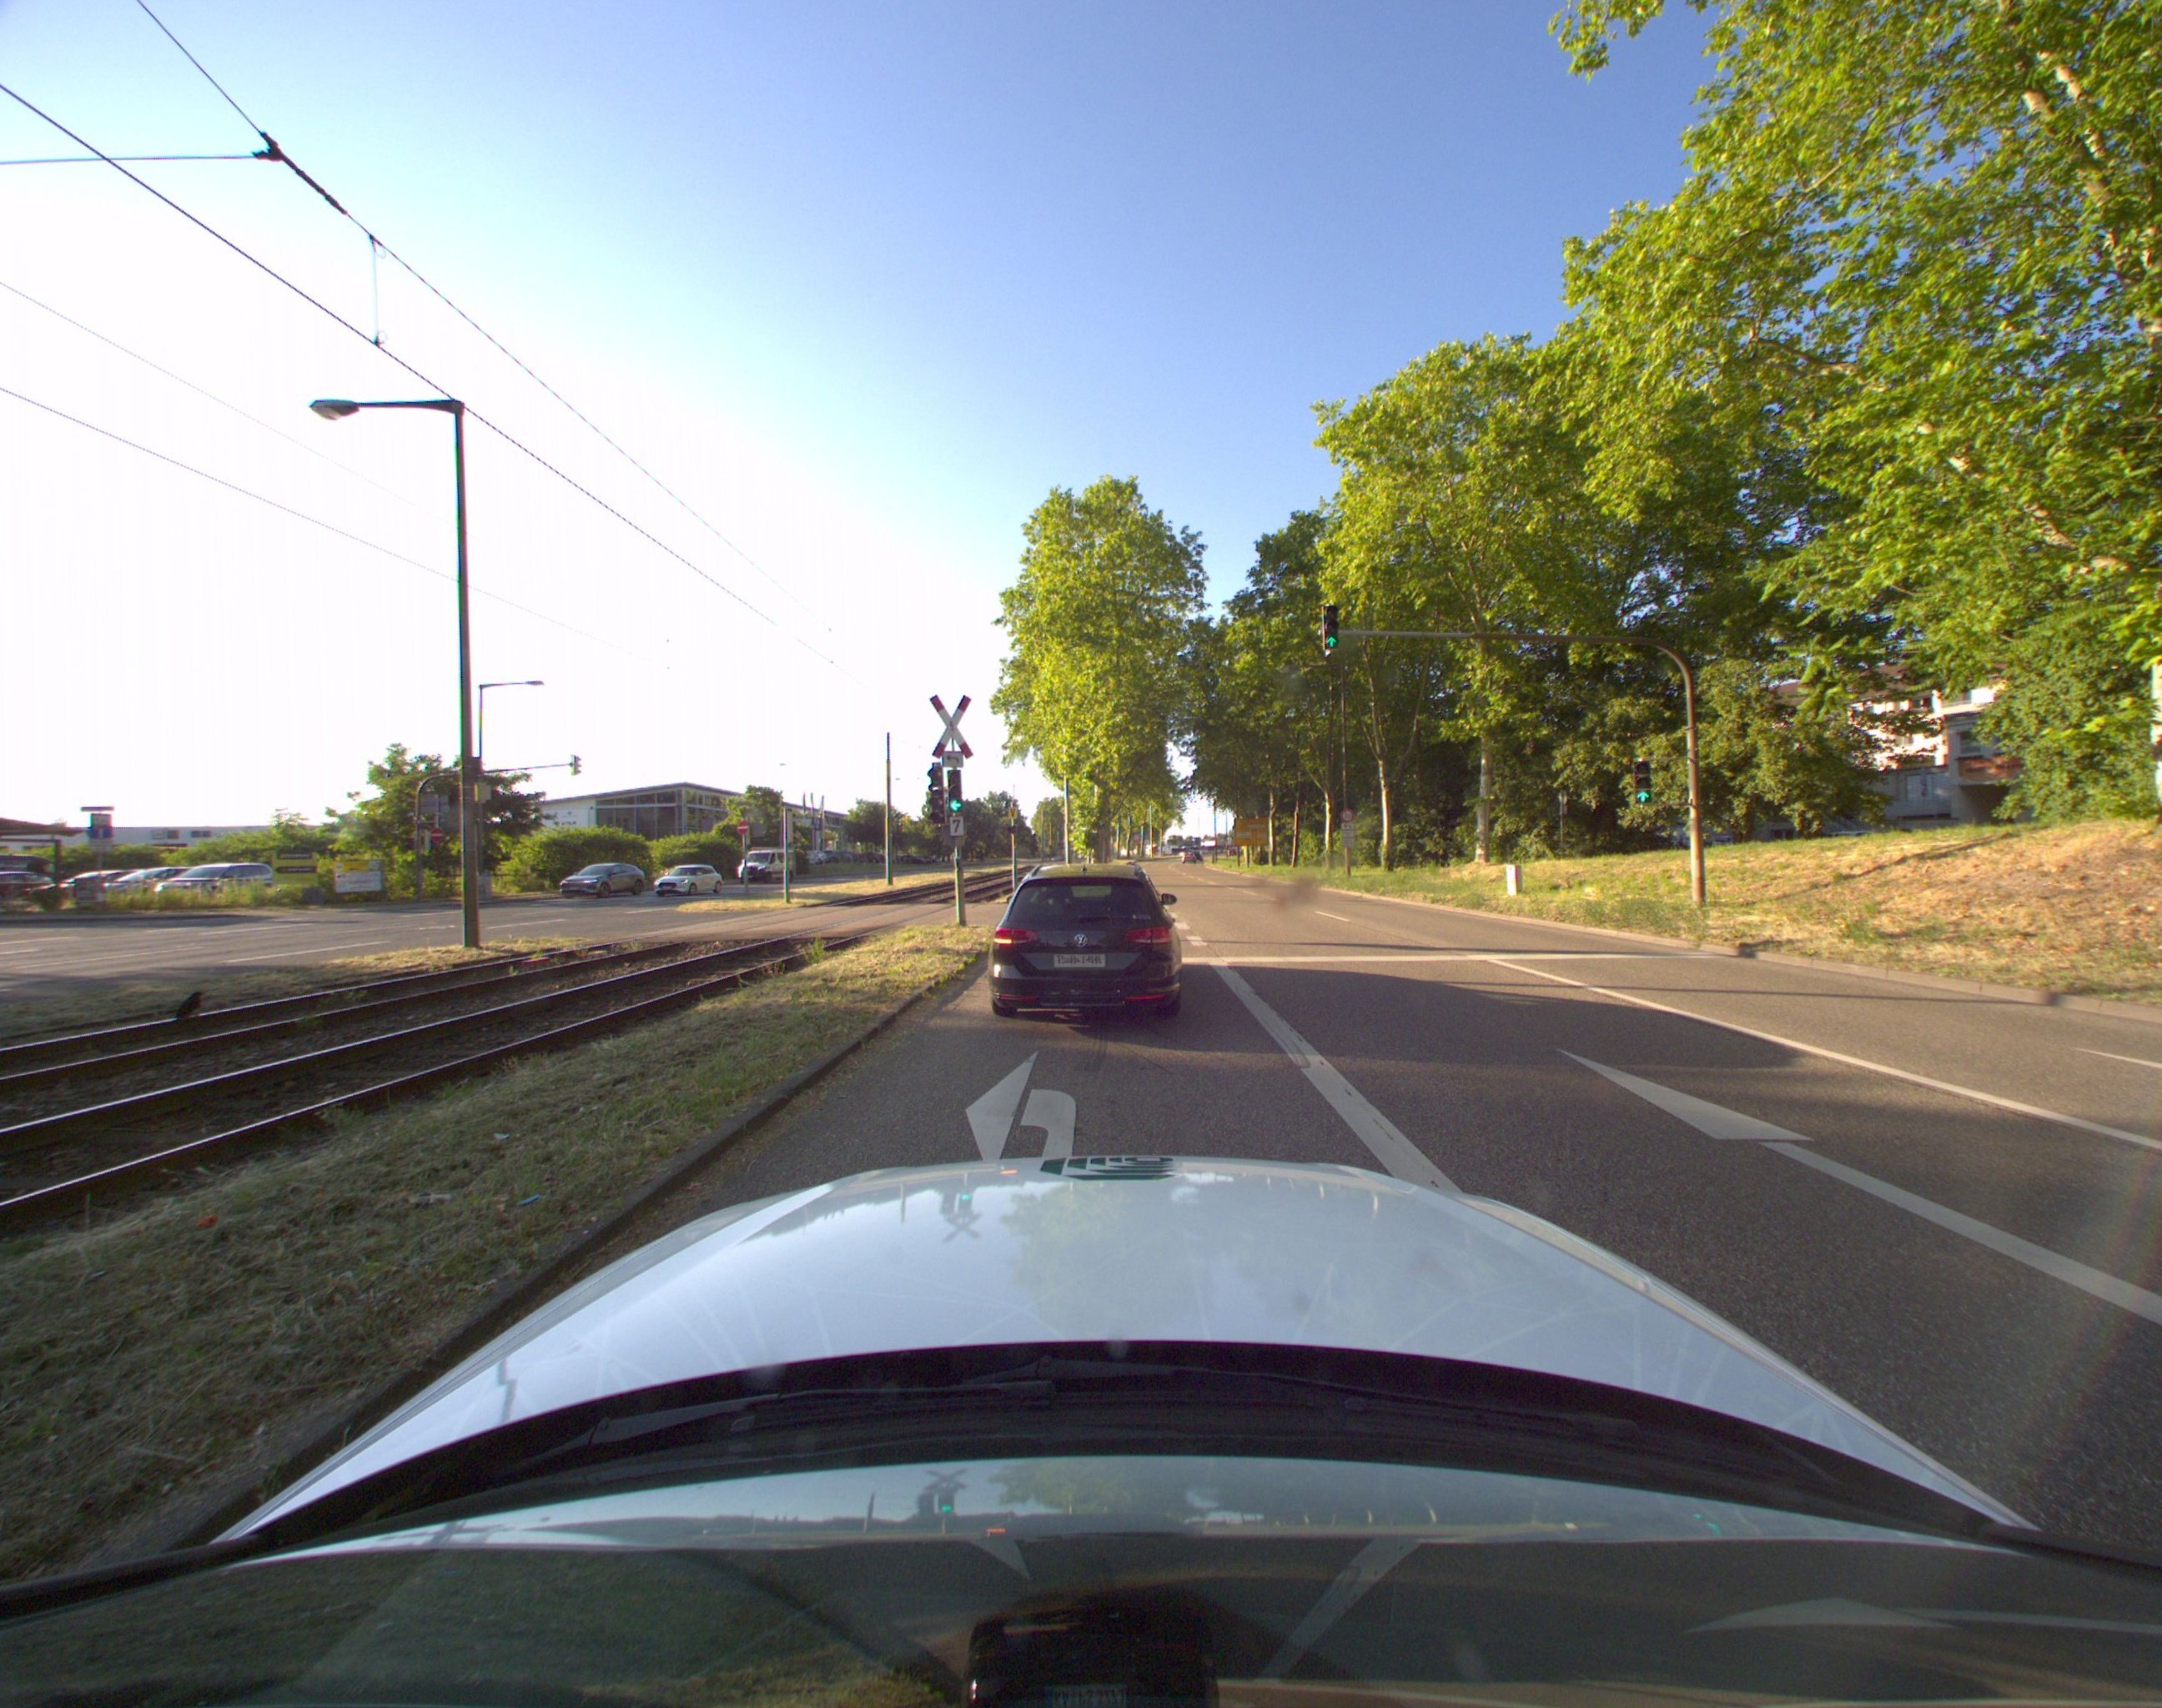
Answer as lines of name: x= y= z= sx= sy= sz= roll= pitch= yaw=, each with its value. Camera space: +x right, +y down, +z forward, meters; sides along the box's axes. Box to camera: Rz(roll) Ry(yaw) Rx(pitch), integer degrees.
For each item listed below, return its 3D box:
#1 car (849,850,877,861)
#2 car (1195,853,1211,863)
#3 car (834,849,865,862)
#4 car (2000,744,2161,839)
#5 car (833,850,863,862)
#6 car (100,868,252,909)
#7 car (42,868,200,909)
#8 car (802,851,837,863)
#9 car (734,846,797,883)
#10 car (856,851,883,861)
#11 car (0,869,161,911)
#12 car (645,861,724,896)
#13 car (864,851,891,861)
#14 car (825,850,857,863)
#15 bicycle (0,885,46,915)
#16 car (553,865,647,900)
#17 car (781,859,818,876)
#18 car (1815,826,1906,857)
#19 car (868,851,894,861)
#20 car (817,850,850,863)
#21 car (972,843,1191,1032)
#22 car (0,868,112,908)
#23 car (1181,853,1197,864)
car: x=-31.069 y=0.271 z=116.189 sx=3.796 sy=1.567 sz=1.749 roll=0 pitch=-1 yaw=-17
car: x=17.702 y=0.565 z=118.053 sx=1.981 sy=1.440 sz=4.012 roll=-1 pitch=0 yaw=11
car: x=-29.664 y=0.166 z=104.574 sx=3.796 sy=1.567 sz=1.749 roll=0 pitch=-1 yaw=-17
car: x=30.820 y=-1.777 z=23.904 sx=1.791 sy=2.513 sz=5.639 roll=0 pitch=-1 yaw=7
car: x=-30.725 y=0.295 z=107.352 sx=3.796 sy=1.567 sz=1.749 roll=0 pitch=-1 yaw=-17
car: x=-39.441 y=1.443 z=35.667 sx=2.106 sy=1.648 sz=4.001 roll=0 pitch=-1 yaw=1
car: x=-41.880 y=1.461 z=35.691 sx=2.106 sy=1.648 sz=4.001 roll=0 pitch=-1 yaw=1
car: x=-30.362 y=0.379 z=94.597 sx=3.796 sy=1.388 sz=1.749 roll=0 pitch=-1 yaw=-17
car: x=-22.934 y=0.756 z=59.434 sx=1.995 sy=2.566 sz=5.880 roll=-1 pitch=0 yaw=3
car: x=-30.935 y=0.293 z=119.074 sx=3.796 sy=1.567 sz=1.749 roll=0 pitch=-1 yaw=-17
car: x=-44.122 y=1.537 z=35.930 sx=2.106 sy=1.648 sz=4.321 roll=0 pitch=-1 yaw=1
car: x=-19.777 y=1.198 z=40.795 sx=1.863 sy=1.618 sz=4.001 roll=-1 pitch=0 yaw=2
car: x=-30.598 y=0.317 z=122.355 sx=3.796 sy=1.567 sz=1.749 roll=0 pitch=-1 yaw=-17
car: x=-29.875 y=0.290 z=101.324 sx=3.796 sy=1.567 sz=1.749 roll=0 pitch=-1 yaw=-17
bicycle: x=-39.191 y=1.684 z=29.644 sx=0.540 sy=1.038 sz=1.895 roll=-1 pitch=0 yaw=3
car: x=-23.896 y=1.370 z=40.640 sx=1.863 sy=1.618 sz=4.549 roll=-1 pitch=0 yaw=2
car: x=-31.389 y=1.499 z=90.964 sx=3.796 sy=1.860 sz=1.749 roll=0 pitch=-1 yaw=-17
car: x=44.029 y=-0.695 z=46.025 sx=3.993 sy=1.706 sz=1.909 roll=0 pitch=-1 yaw=-15
car: x=-30.715 y=0.341 z=125.151 sx=3.796 sy=1.567 sz=1.749 roll=0 pitch=-1 yaw=-17
car: x=-29.951 y=0.337 z=98.693 sx=3.796 sy=1.567 sz=1.749 roll=0 pitch=-1 yaw=-17
car: x=0.070 y=0.712 z=8.912 sx=1.818 sy=1.556 sz=4.260 roll=0 pitch=-1 yaw=2
car: x=-46.411 y=1.475 z=35.905 sx=2.106 sy=1.648 sz=4.321 roll=0 pitch=-1 yaw=1
car: x=14.250 y=0.562 z=107.457 sx=1.984 sy=1.442 sz=4.005 roll=-1 pitch=0 yaw=5
